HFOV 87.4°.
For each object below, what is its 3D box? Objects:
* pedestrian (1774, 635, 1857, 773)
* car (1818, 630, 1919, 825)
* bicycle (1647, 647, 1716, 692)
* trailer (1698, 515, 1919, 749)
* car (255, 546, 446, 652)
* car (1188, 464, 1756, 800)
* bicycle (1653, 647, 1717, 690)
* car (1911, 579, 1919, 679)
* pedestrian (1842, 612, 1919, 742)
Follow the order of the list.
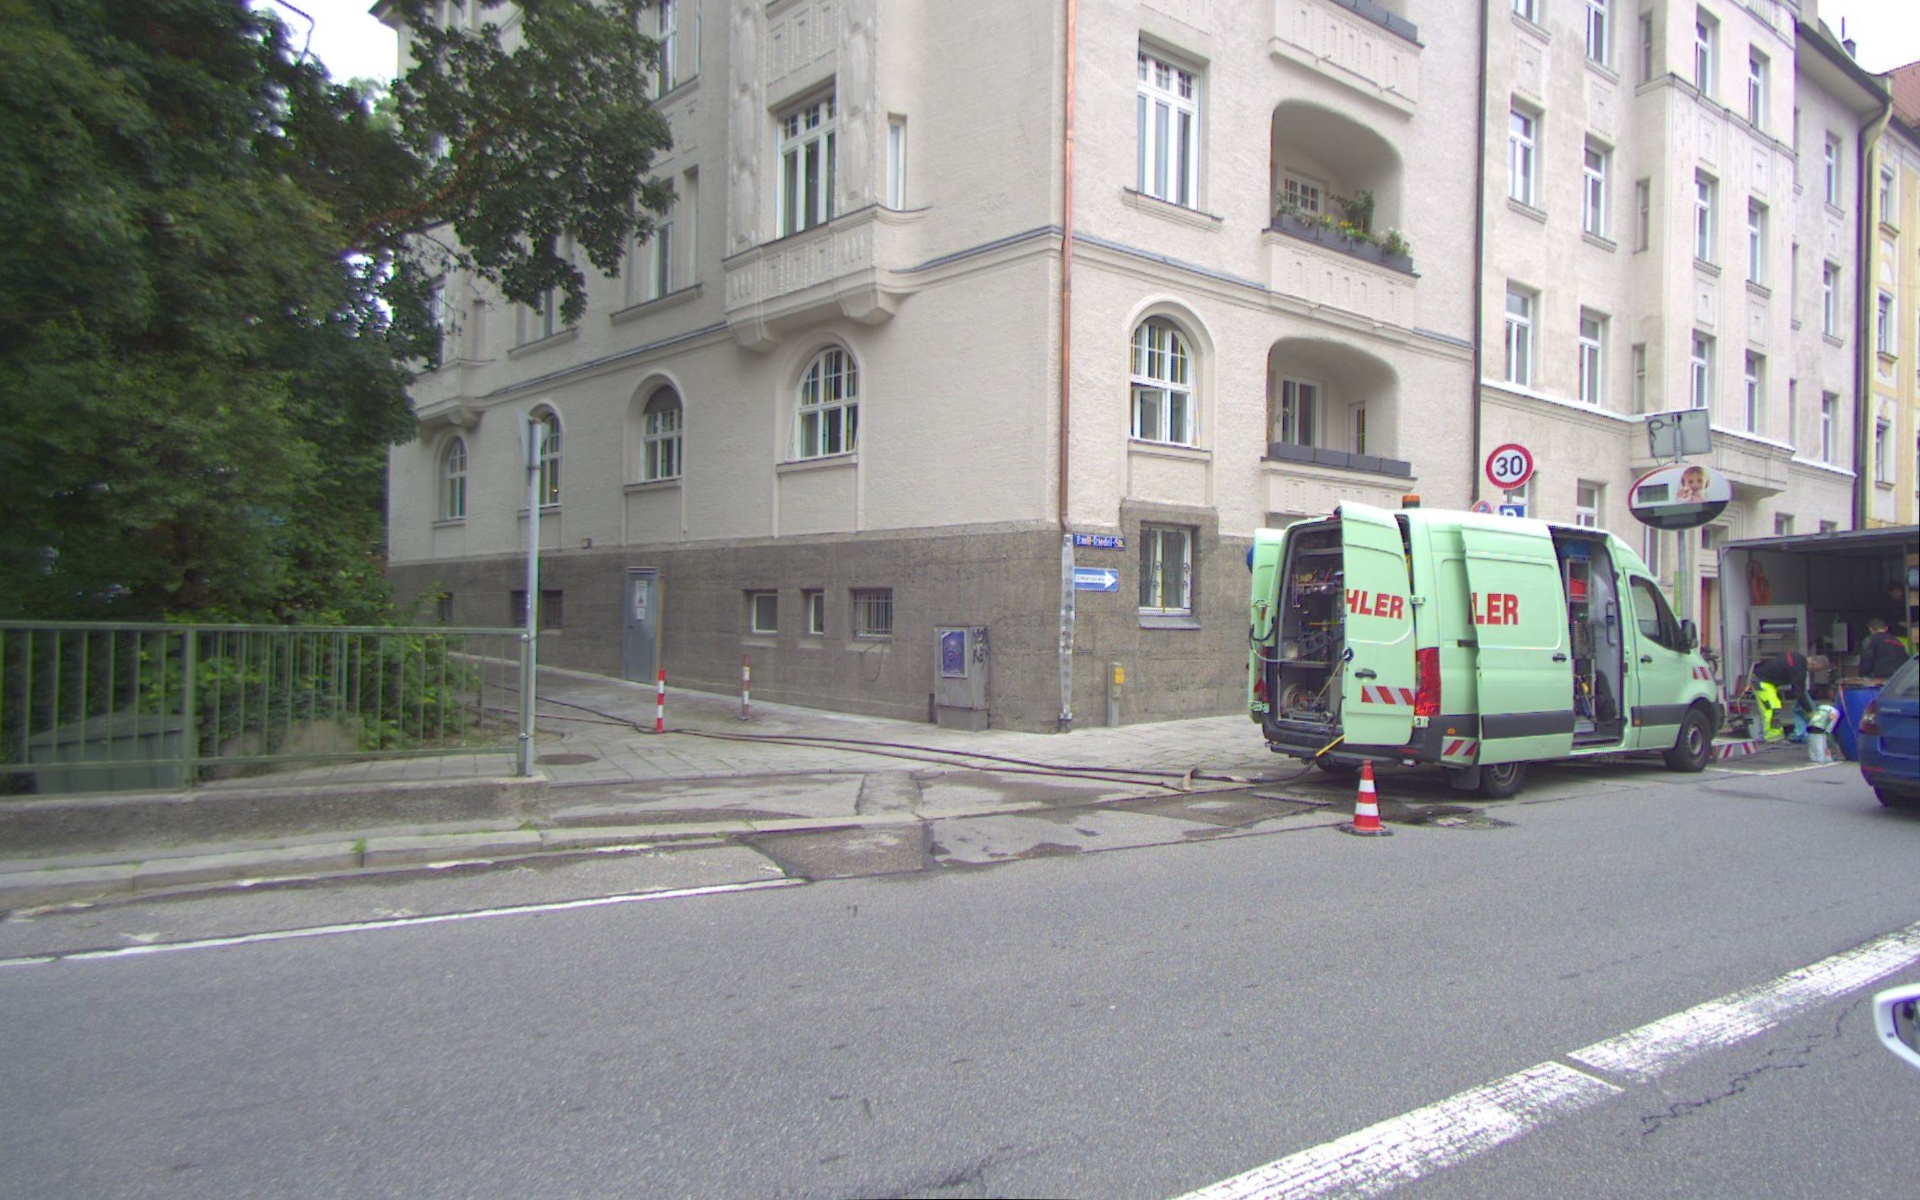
[{"bbox_3d":[10.427,1.240,12.257,0.752,1.601,0.634,0,-2,41],"label":"pedestrian"},{"bbox_3d":[9.320,1.030,8.475,4.261,1.479,1.782,2,-1,-29],"label":"car"},{"bbox_3d":[15.951,1.531,22.207,1.564,0.926,0.394,2,2,-21],"label":"bicycle"},{"bbox_3d":[15.055,0.518,15.728,7.510,3.007,2.791,1,-4,-30],"label":"trailer"},{"bbox_3d":[-20.098,0.053,33.347,2.442,3.216,4.792,0,-2,33],"label":"car"},{"bbox_3d":[5.593,0.324,10.483,6.718,2.606,2.129,1,-1,-32],"label":"car"},{"bbox_3d":[16.535,1.554,22.897,1.734,0.926,0.414,2,2,-28],"label":"bicycle"},{"bbox_3d":[21.277,0.932,19.756,6.802,2.620,2.045,2,-5,-33],"label":"car"},{"bbox_3d":[12.147,0.995,13.229,0.752,1.652,0.634,0,-2,39],"label":"pedestrian"}]
